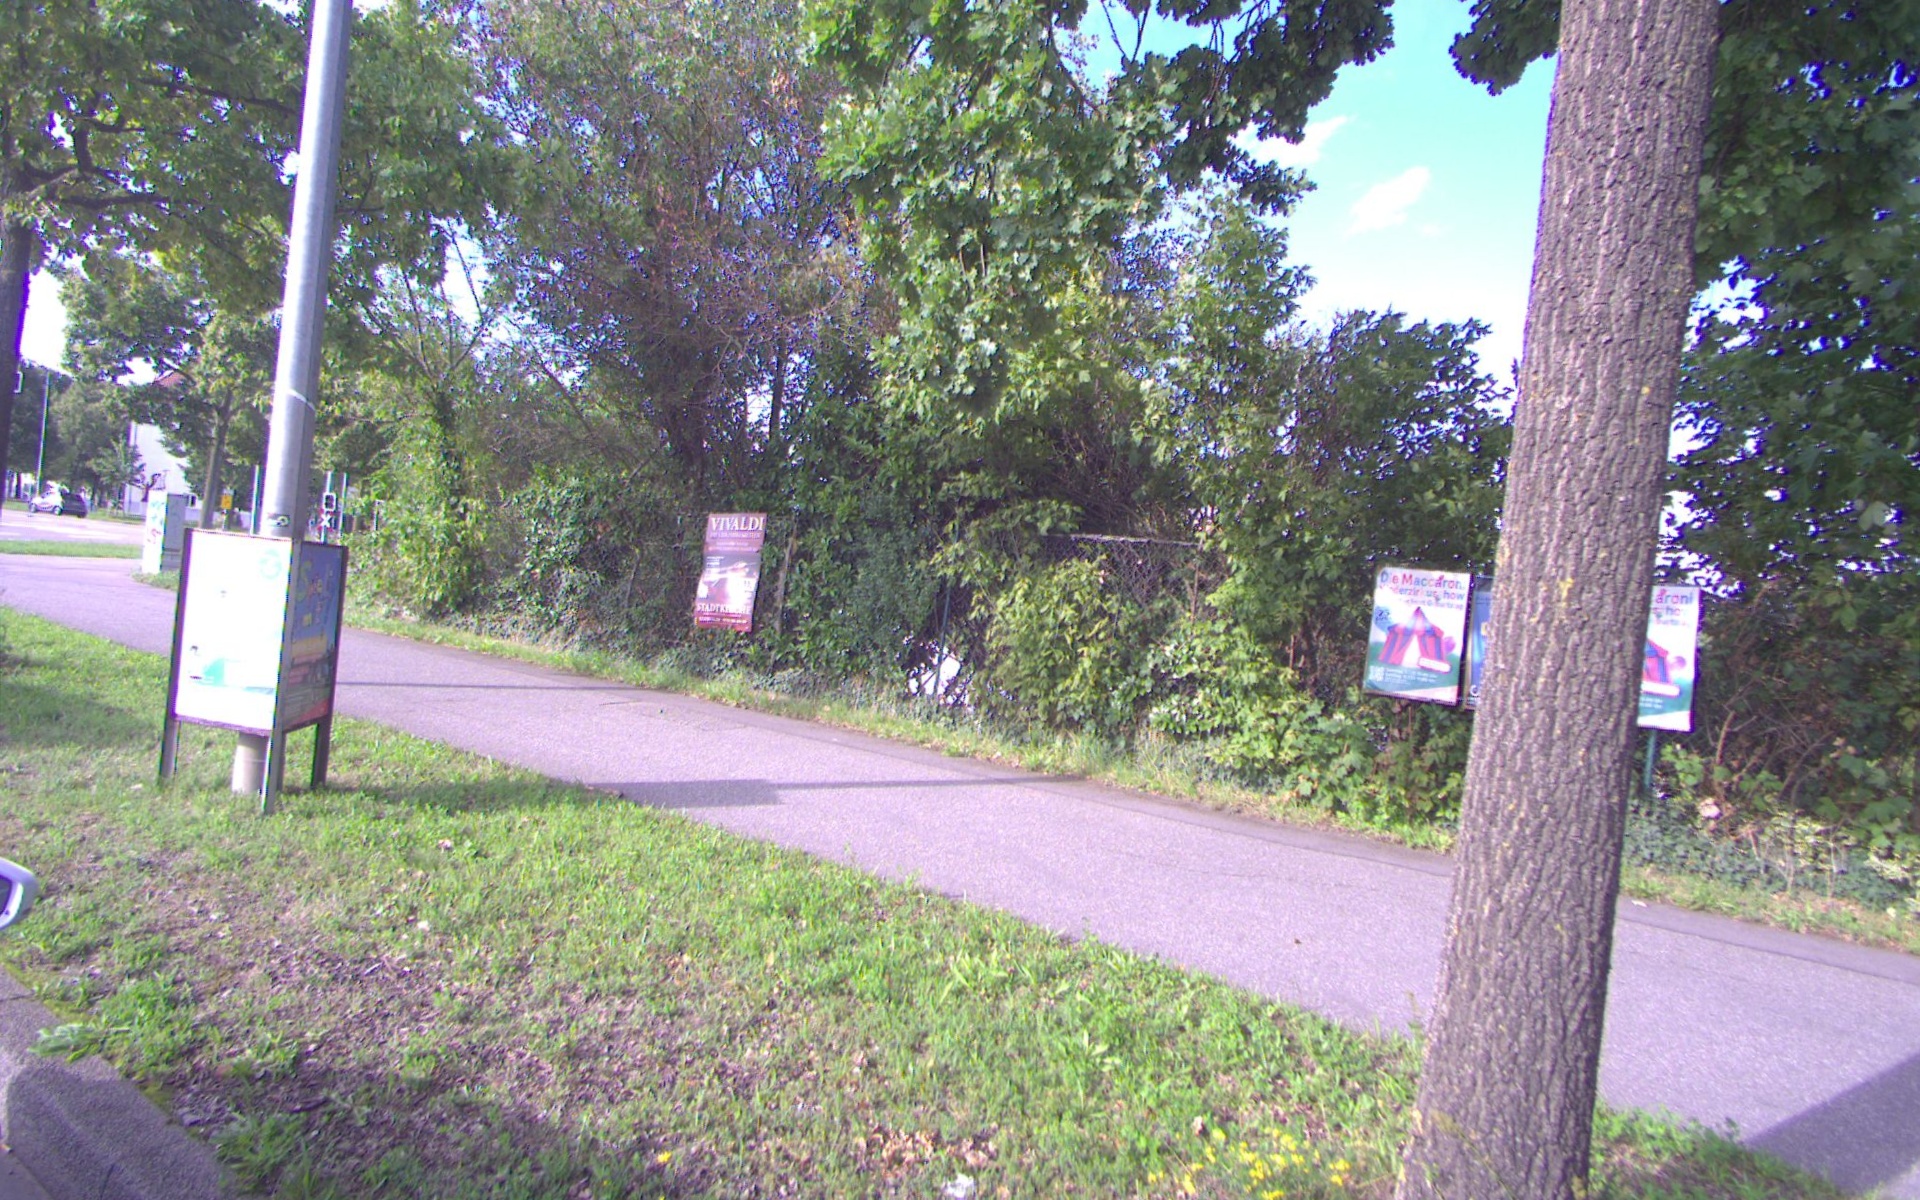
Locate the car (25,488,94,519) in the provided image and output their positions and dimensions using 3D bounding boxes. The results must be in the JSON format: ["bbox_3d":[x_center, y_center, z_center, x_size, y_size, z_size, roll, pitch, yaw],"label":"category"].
[{"bbox_3d":[-57.599,-6.173,64.376,3.137,1.595,1.574,6,2,7],"label":"car"}]

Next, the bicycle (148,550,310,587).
[{"bbox_3d":[-14.380,-0.625,19.812,2.529,0.390,1.411,7,0,21],"label":"bicycle"}]
